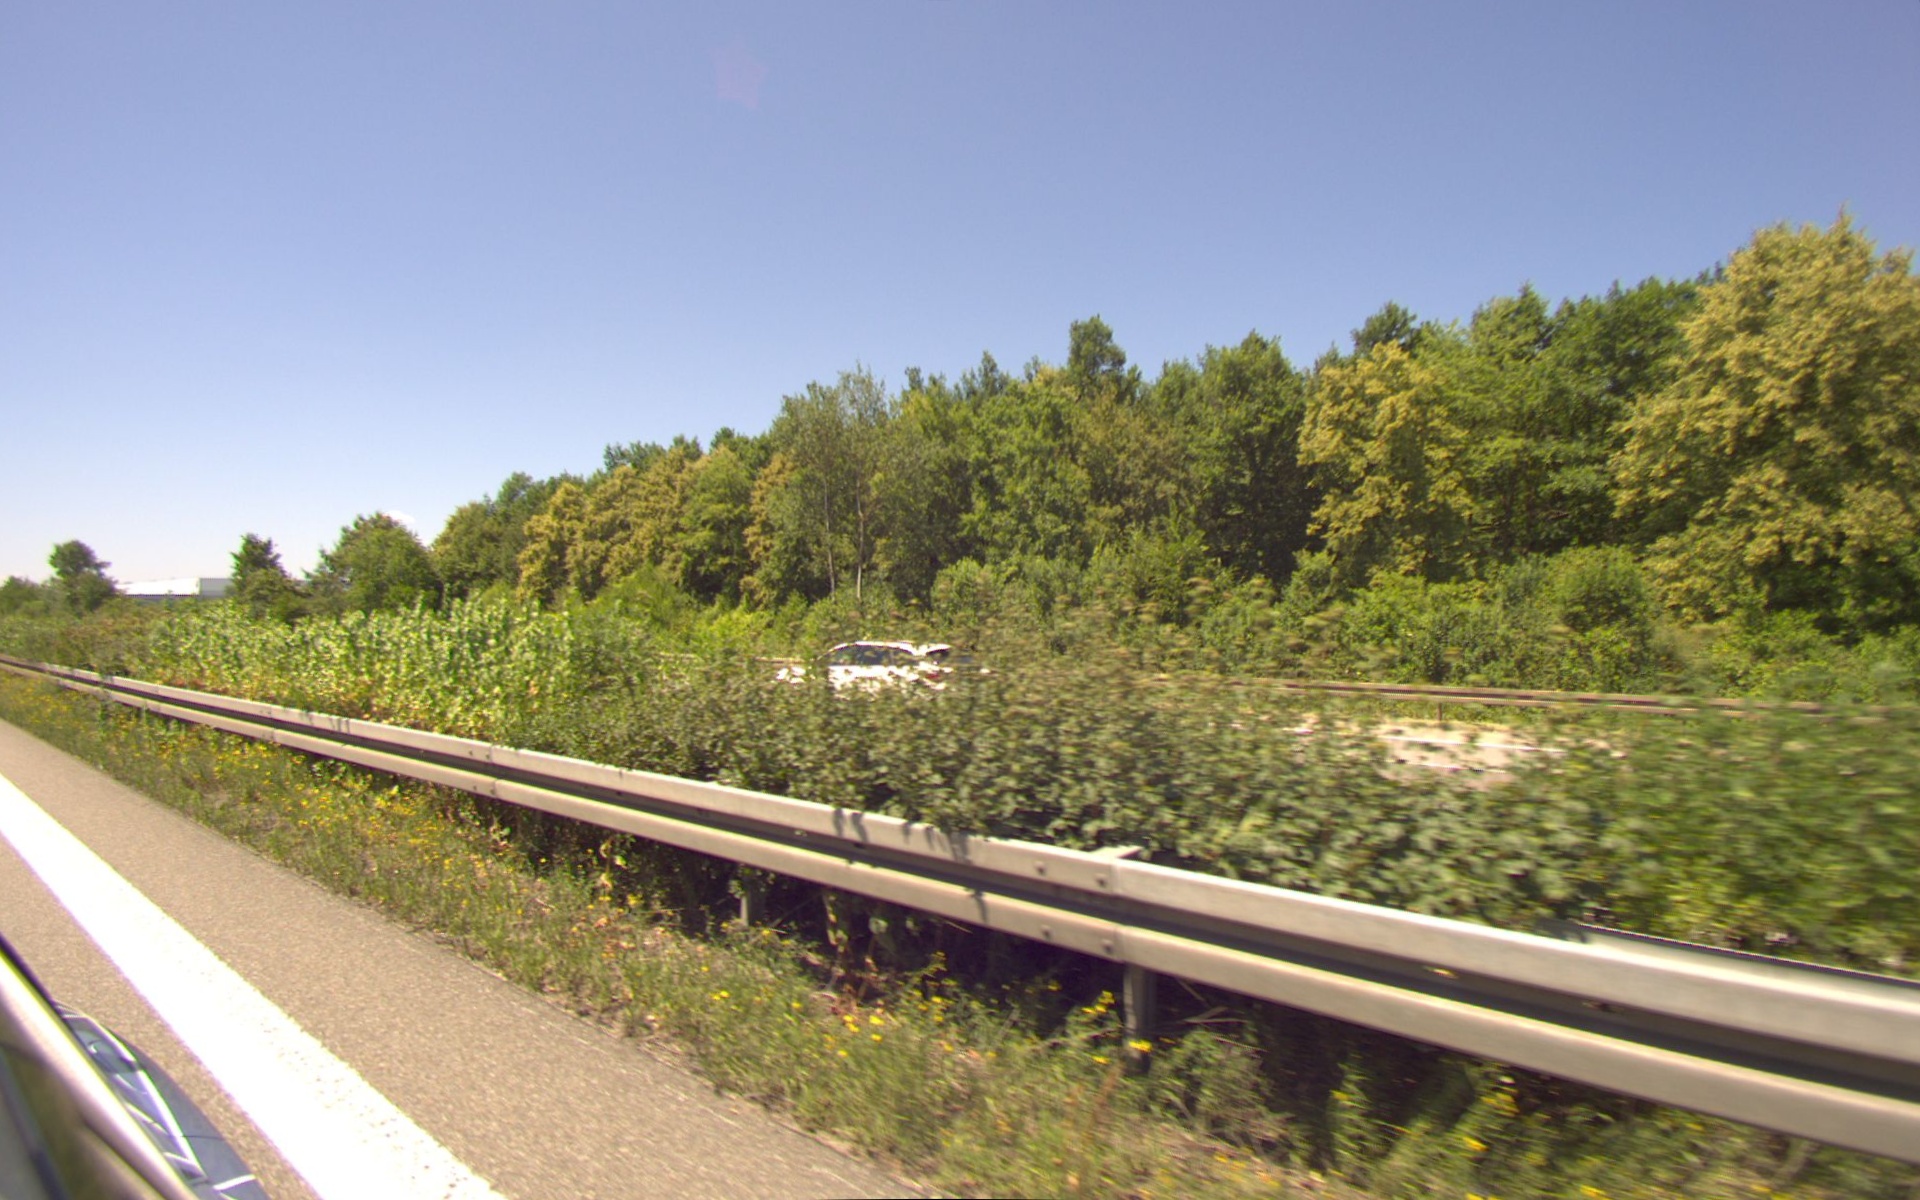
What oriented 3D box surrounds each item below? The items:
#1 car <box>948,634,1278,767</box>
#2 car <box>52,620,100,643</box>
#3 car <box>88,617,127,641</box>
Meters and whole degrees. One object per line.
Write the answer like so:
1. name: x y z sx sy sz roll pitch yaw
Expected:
1. car: 2.032 1.283 14.317 4.391 1.529 1.728 -1 -1 41
2. car: -56.897 1.983 65.131 3.998 1.439 1.775 -1 -1 41
3. car: -65.128 2.215 77.307 3.623 1.770 1.775 -1 -1 41
